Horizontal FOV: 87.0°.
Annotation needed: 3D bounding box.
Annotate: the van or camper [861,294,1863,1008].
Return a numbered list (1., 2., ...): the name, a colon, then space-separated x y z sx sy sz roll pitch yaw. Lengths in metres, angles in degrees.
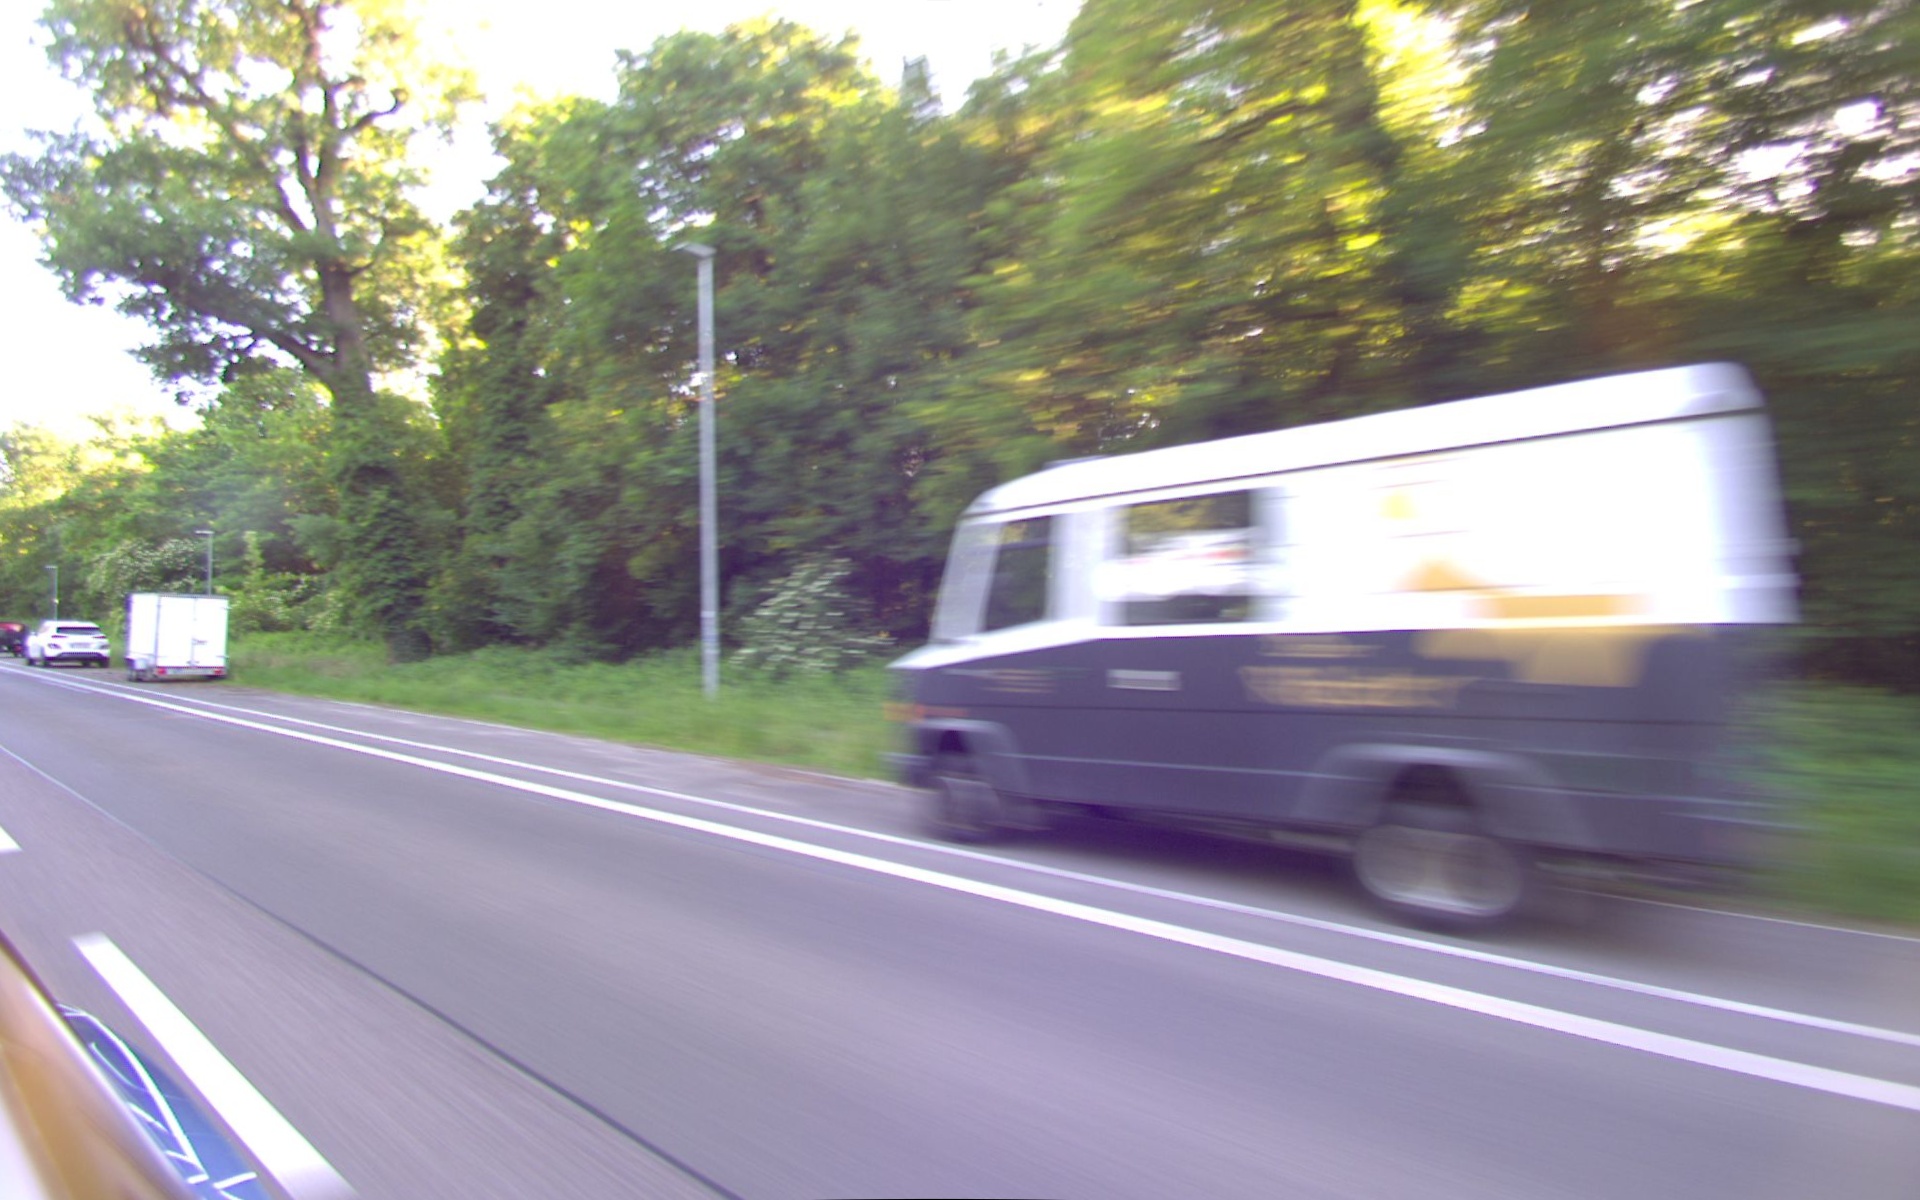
1. van or camper: 2.124 0.290 6.646 5.554 2.789 2.278 -2 -4 41

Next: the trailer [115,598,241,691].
1. trailer: -20.942 1.157 27.068 3.486 2.311 2.052 -1 -3 43

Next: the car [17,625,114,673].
1. car: -31.359 1.698 35.453 4.202 1.583 1.796 -2 -4 39

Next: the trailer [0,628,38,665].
1. trailer: -42.460 2.054 45.137 1.376 1.586 2.682 0 -1 -29
